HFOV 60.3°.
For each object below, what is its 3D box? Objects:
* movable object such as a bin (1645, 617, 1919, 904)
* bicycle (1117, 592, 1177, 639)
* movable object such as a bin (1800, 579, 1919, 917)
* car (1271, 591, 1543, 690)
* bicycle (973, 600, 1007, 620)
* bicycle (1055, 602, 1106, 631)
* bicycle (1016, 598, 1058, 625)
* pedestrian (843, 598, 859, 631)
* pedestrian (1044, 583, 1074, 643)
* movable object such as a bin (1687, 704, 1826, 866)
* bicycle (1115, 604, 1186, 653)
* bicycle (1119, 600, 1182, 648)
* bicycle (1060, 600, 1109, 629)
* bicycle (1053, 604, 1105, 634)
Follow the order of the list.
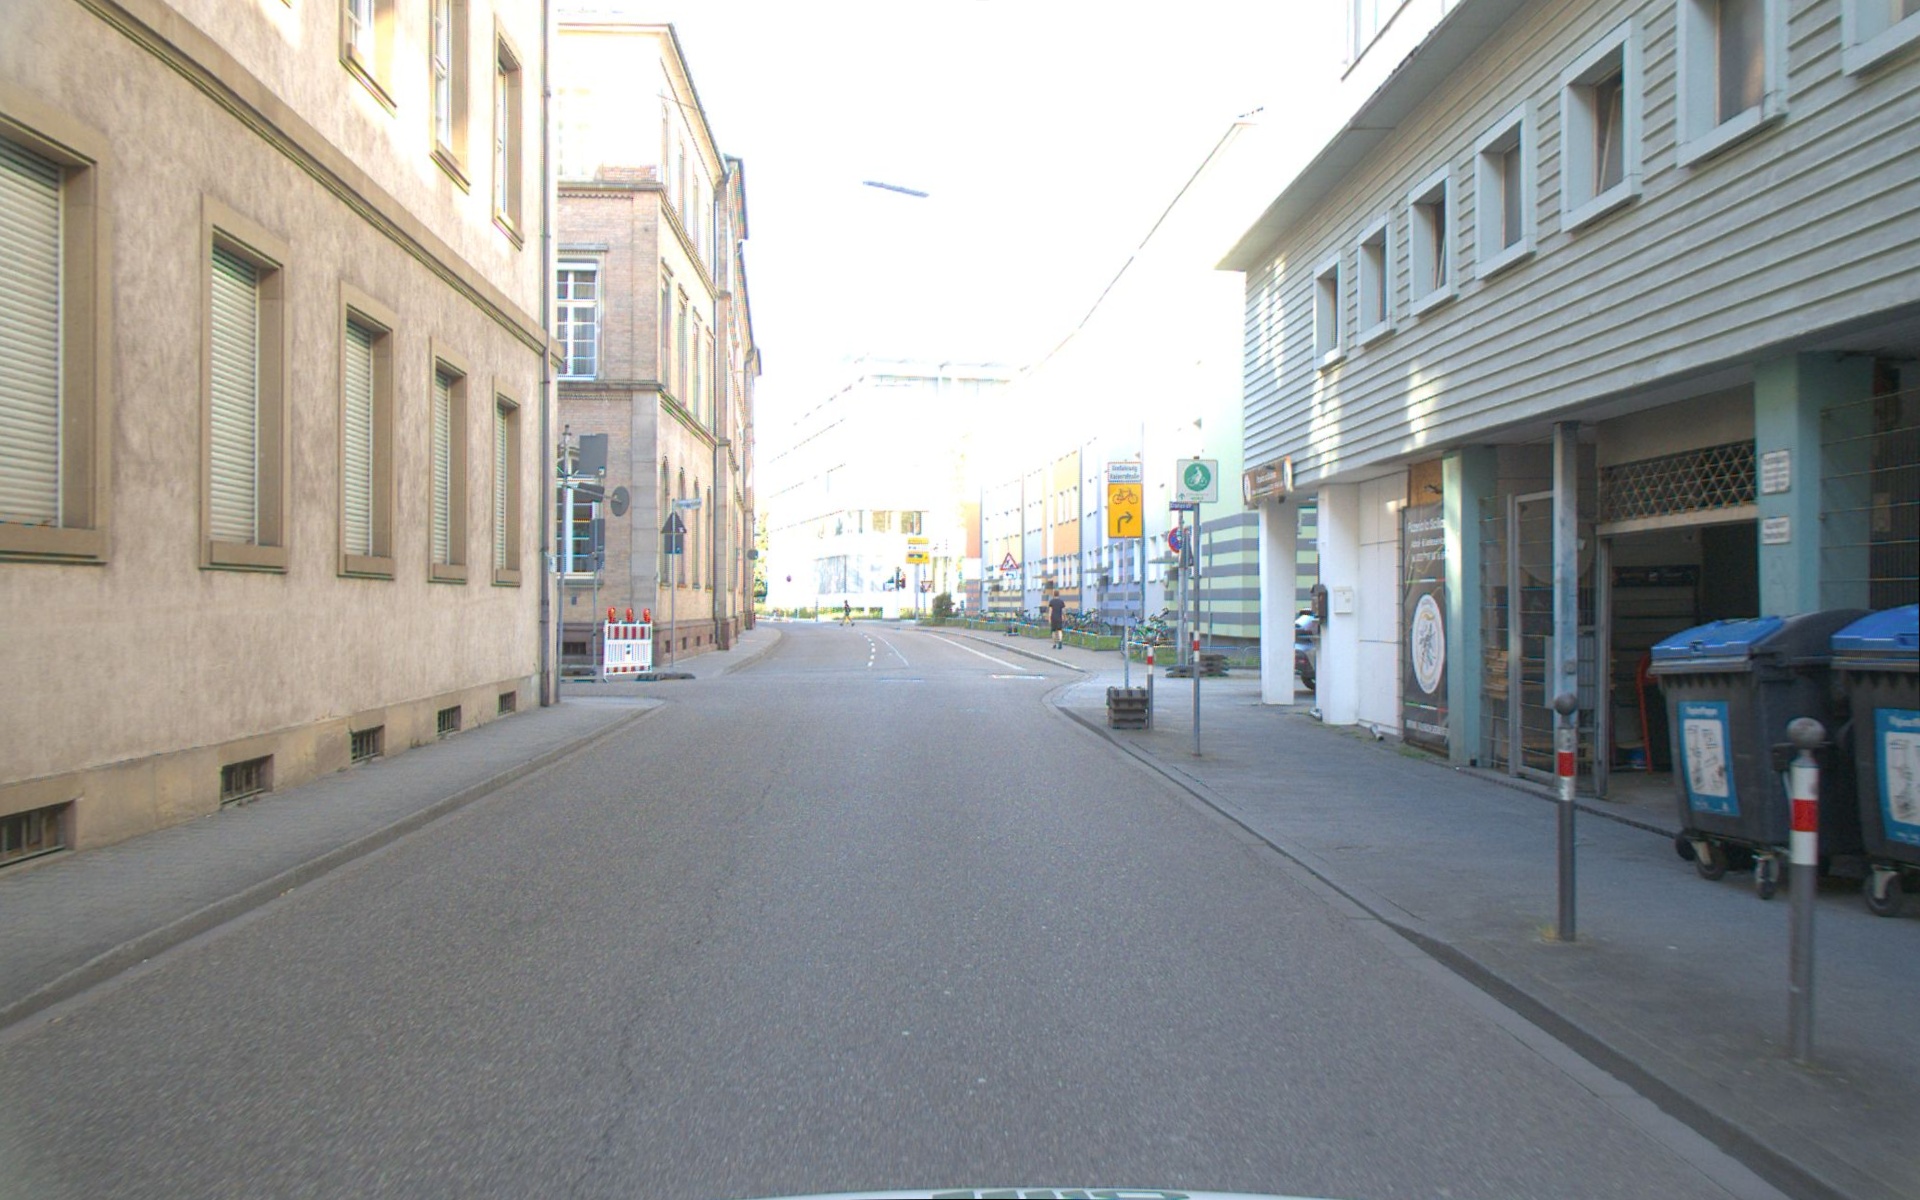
[{"bbox_3d":[4.535,0.827,9.025,0.961,1.409,1.320,-2,-2,-2],"label":"movable object such as a bin"},{"bbox_3d":[5.088,0.415,45.067,1.575,1.161,0.236,-4,1,-13],"label":"bicycle"},{"bbox_3d":[4.740,0.647,7.507,0.961,1.506,1.551,-2,-2,-2],"label":"movable object such as a bin"},{"bbox_3d":[7.428,0.649,27.712,3.998,1.508,1.864,-1,0,-4],"label":"car"},{"bbox_3d":[1.610,0.537,88.046,1.721,1.021,0.612,-2,0,-9],"label":"bicycle"},{"bbox_3d":[4.232,0.586,58.213,1.714,0.963,0.551,-2,0,-5],"label":"bicycle"},{"bbox_3d":[3.435,0.507,73.844,1.775,1.157,0.551,-1,0,-6],"label":"bicycle"},{"bbox_3d":[-7.006,0.921,105.948,0.880,2.049,0.751,-1,0,-12],"label":"pedestrian"},{"bbox_3d":[3.048,0.404,51.082,0.683,1.790,1.188,-3,1,-4],"label":"pedestrian"},{"bbox_3d":[4.826,1.111,10.045,0.545,0.915,0.523,-2,-2,-2],"label":"movable object such as a bin"},{"bbox_3d":[4.992,0.741,43.399,1.714,1.161,0.551,-4,1,-5],"label":"bicycle"},{"bbox_3d":[5.162,0.644,44.809,1.612,1.161,0.282,-4,1,-13],"label":"bicycle"},{"bbox_3d":[4.448,0.509,59.076,1.713,0.963,0.325,-2,0,-4],"label":"bicycle"},{"bbox_3d":[4.120,0.661,57.267,1.714,0.963,0.551,-2,0,-5],"label":"bicycle"}]
